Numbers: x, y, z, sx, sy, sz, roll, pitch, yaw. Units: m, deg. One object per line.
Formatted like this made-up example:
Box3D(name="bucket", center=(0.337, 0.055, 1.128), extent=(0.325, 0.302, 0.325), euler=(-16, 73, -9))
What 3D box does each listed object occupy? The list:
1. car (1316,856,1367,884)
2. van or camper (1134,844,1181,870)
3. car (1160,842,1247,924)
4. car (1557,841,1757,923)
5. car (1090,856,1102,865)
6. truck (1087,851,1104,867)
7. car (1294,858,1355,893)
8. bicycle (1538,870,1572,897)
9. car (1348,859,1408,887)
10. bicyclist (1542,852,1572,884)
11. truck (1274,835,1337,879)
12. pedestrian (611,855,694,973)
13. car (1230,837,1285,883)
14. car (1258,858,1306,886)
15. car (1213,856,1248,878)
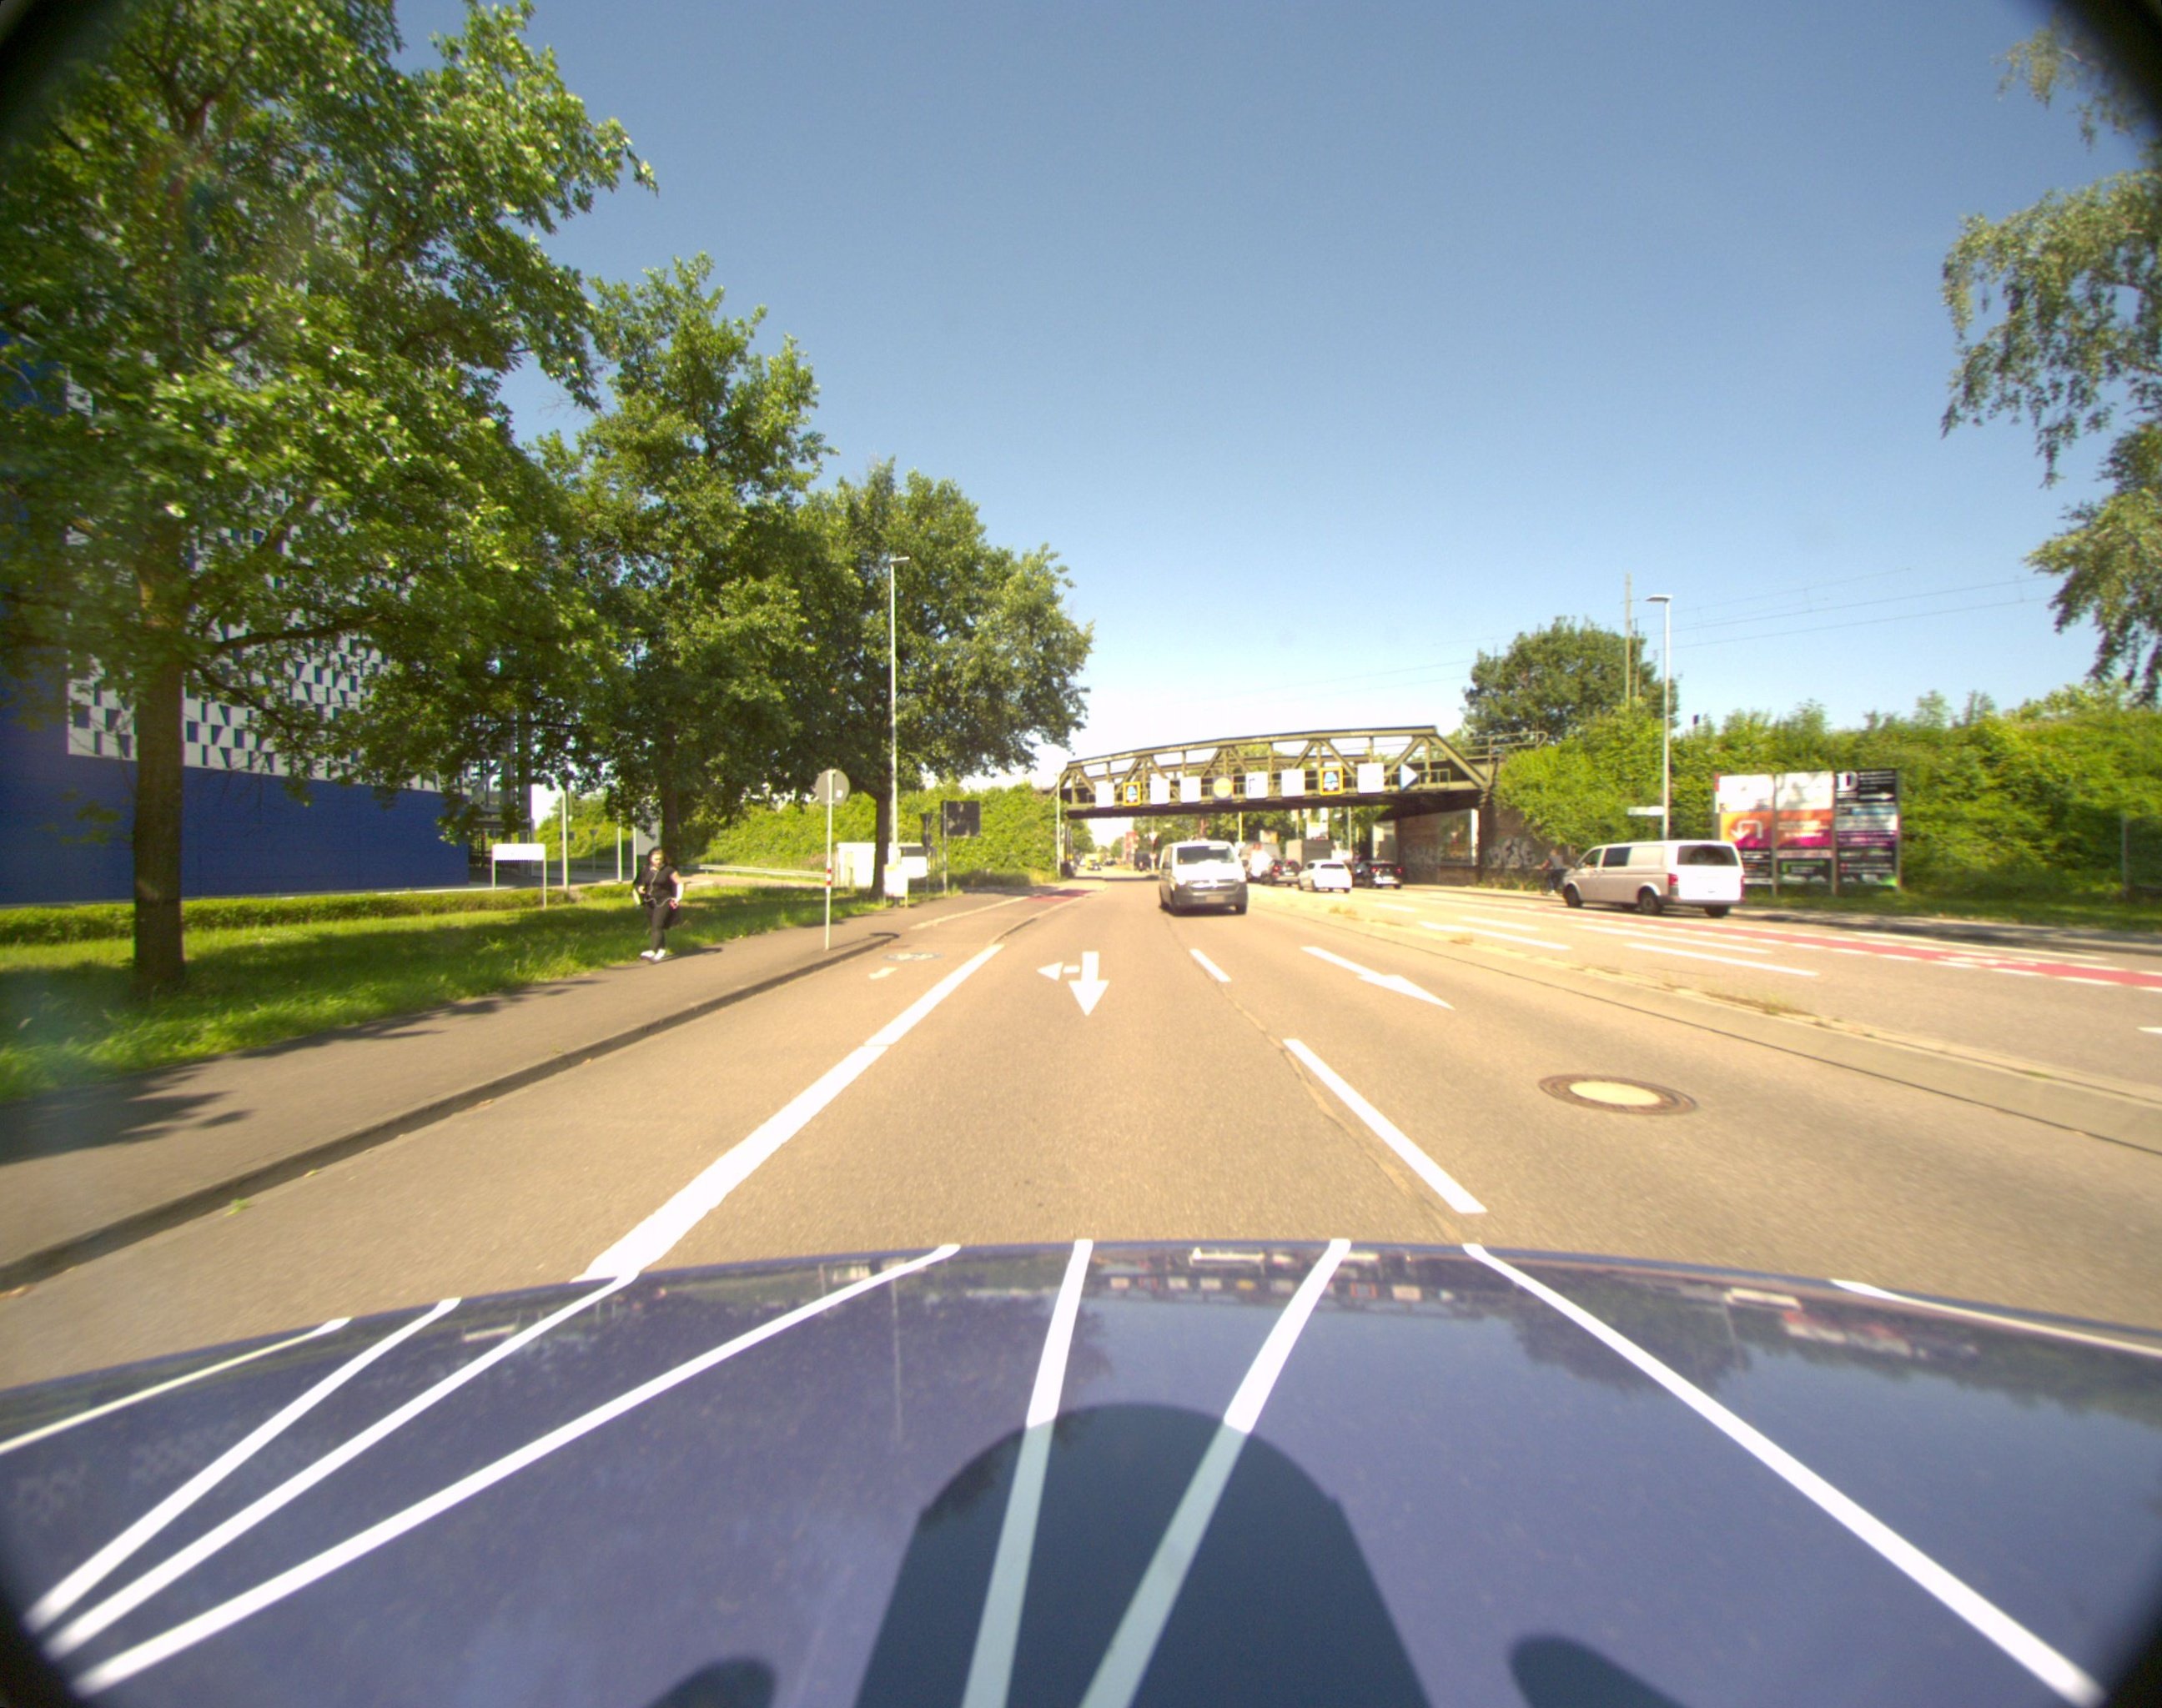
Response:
Box3D(name="car", center=(16.945, 1.056, 49.667), extent=(1.989, 1.679, 4.289), euler=(1, -1, 2))
Box3D(name="van or camper", center=(10.016, 0.388, 100.103), extent=(5.779, 3.136, 2.600), euler=(-3, -1, -3))
Box3D(name="car", center=(3.223, 0.706, 20.867), extent=(1.886, 1.982, 4.976), euler=(0, 0, 4))
Box3D(name="car", center=(15.811, 0.697, 21.342), extent=(1.997, 2.002, 5.349), euler=(0, 0, 6))
Box3D(name="car", center=(2.441, 1.070, 123.795), extent=(1.823, 1.346, 3.999), euler=(0, 0, -2))
Box3D(name="truck", center=(2.690, 0.967, 139.920), extent=(2.410, 2.845, 5.804), euler=(-3, -1, -4))
Box3D(name="car", center=(11.249, 0.989, 35.359), extent=(1.647, 1.485, 3.830), euler=(1, -1, 1))
Box3D(name="bicycle", center=(18.489, 1.143, 29.676), extent=(0.447, 1.021, 1.616), euler=(0, 0, 6))
Box3D(name="car", center=(16.413, 1.049, 42.208), extent=(1.773, 1.485, 4.179), euler=(1, -1, 2))
Box3D(name="bicyclist", center=(18.390, 0.528, 29.374), extent=(0.635, 1.220, 0.951), euler=(0, 0, 6))
Box3D(name="truck", center=(16.454, 0.219, 56.166), extent=(2.347, 3.070, 7.069), euler=(-1, 0, -2))
Box3D(name="pedestrian", center=(-6.014, 0.817, 10.708), extent=(0.648, 1.594, 0.847), euler=(0, 1, 3))
Box3D(name="car", center=(11.733, 0.401, 50.942), extent=(1.998, 2.788, 6.937), euler=(2, 0, 0))
Box3D(name="car", center=(11.442, 1.042, 43.483), extent=(1.773, 1.485, 4.179), euler=(1, -1, 2))
Box3D(name="car", center=(11.691, 0.973, 59.878), extent=(1.998, 1.671, 4.951), euler=(0, 0, 3))
